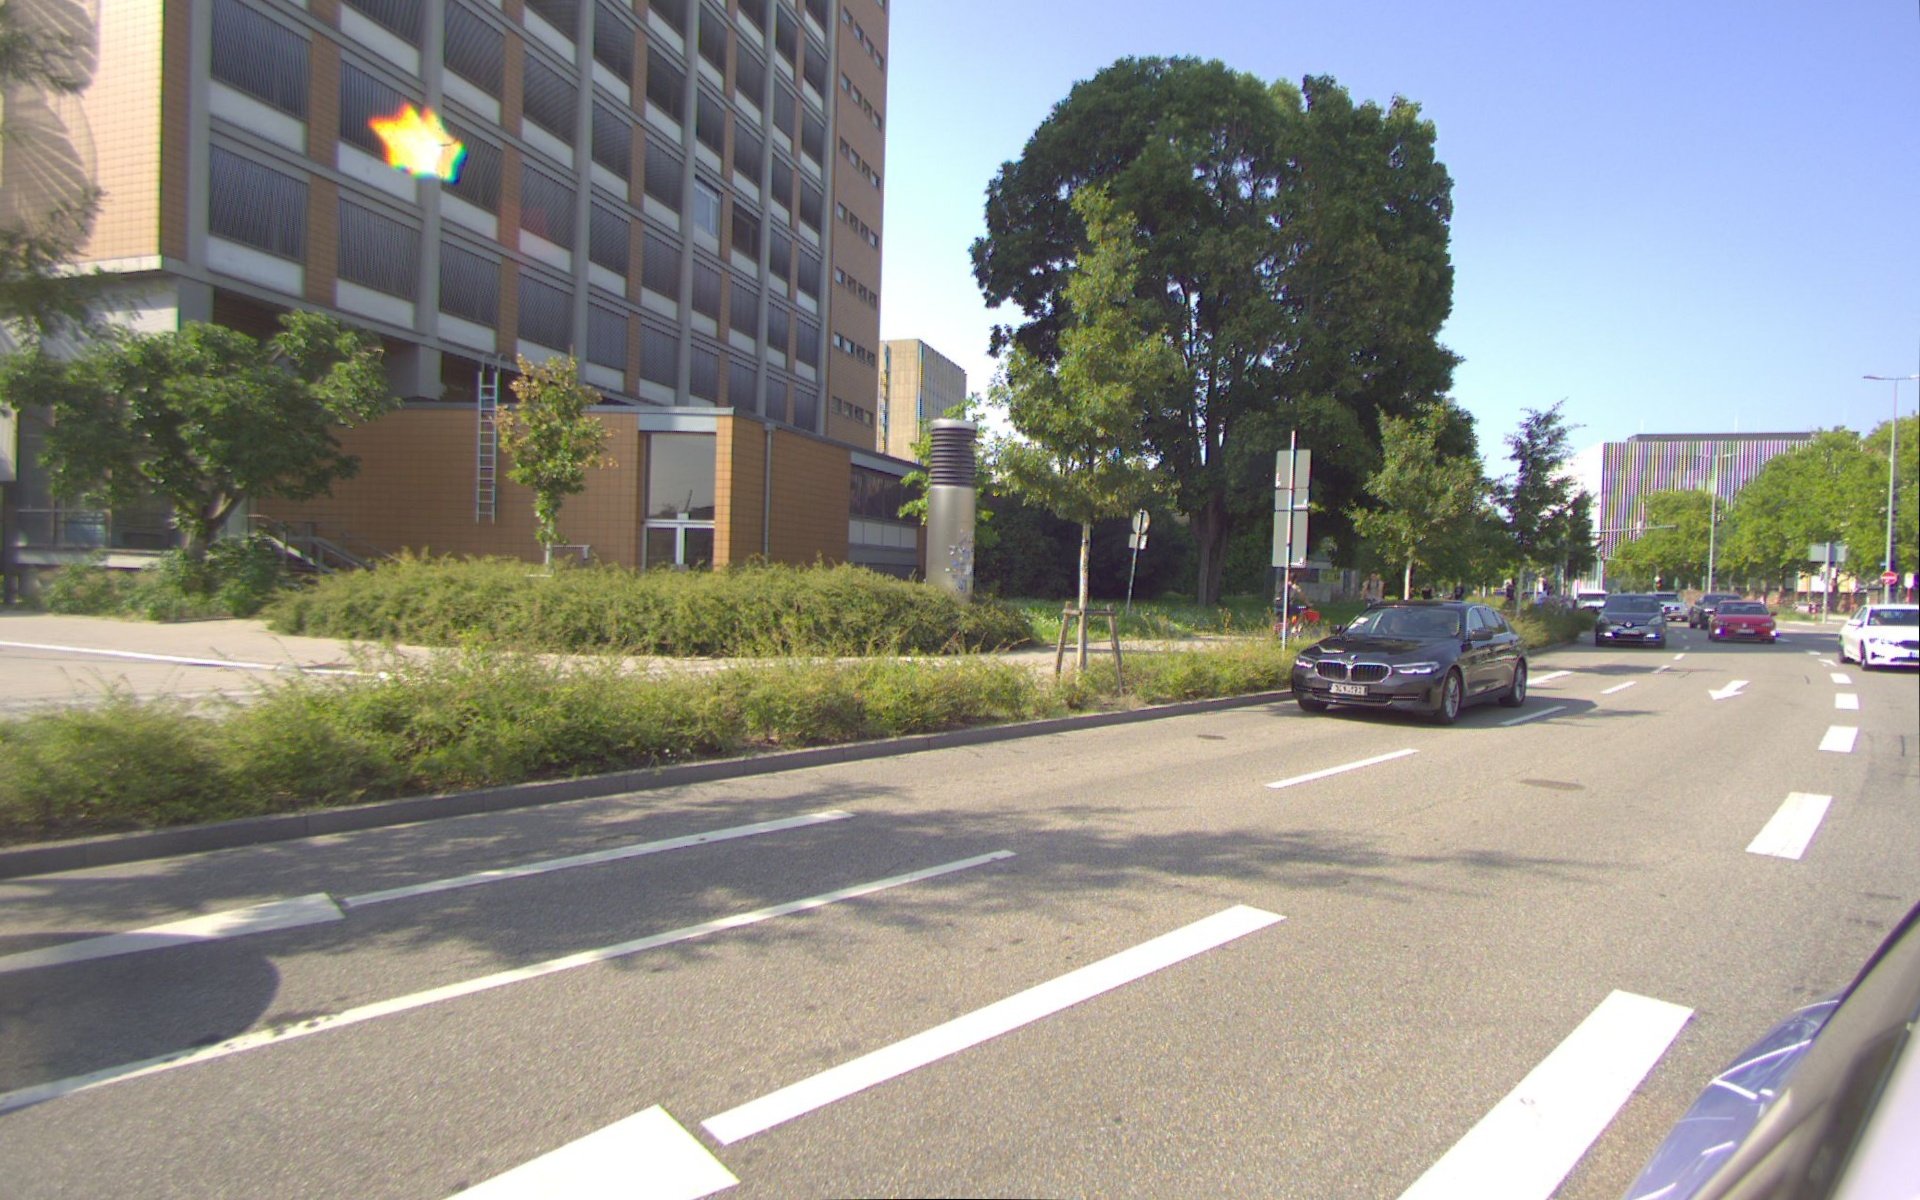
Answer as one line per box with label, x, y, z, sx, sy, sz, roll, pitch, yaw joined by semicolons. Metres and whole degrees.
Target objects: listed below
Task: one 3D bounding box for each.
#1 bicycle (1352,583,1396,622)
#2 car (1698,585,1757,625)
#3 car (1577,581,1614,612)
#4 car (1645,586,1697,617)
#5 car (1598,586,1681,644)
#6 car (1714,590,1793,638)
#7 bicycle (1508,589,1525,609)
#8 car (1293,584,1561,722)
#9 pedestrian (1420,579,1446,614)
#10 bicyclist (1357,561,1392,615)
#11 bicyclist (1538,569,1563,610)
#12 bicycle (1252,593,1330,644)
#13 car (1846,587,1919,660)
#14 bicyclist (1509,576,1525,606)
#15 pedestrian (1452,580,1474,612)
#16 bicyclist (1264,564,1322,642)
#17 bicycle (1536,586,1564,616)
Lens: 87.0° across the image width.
bicycle;12.735;0.065;31.082;0.768;1.131;2.275;2;1;34
car;36.093;0.203;47.680;1.771;1.713;4.480;2;2;33
car;42.834;-0.232;68.253;1.672;1.966;4.330;2;2;27
car;42.669;0.068;60.820;1.766;1.741;4.493;2;2;26
car;21.090;0.396;31.544;1.769;1.626;4.375;2;2;30
car;27.490;0.431;35.185;1.676;1.510;4.321;3;2;32
bicycle;32.206;-0.076;58.577;0.766;1.131;2.283;2;1;26
car;6.293;0.576;13.351;4.596;1.510;1.684;0;1;-44
pedestrian;19.979;-0.149;42.769;0.725;1.461;0.844;2;2;44
bicyclist;12.711;-0.371;31.031;0.768;1.613;0.913;2;1;35
bicyclist;23.868;-0.431;40.896;0.769;1.612;0.912;2;1;35
bicycle;6.784;0.364;20.701;1.890;0.971;0.720;0;2;-45
car;21.447;0.488;22.698;1.772;1.501;4.477;2;2;34
bicyclist;32.205;-0.506;58.530;0.766;1.697;0.916;1;1;27
pedestrian;29.213;-0.225;58.740;0.954;1.804;0.991;5;2;33
bicyclist;6.815;0.052;20.712;0.987;1.531;0.720;0;2;-43
bicycle;23.883;0.035;40.945;0.769;1.131;2.275;3;2;35
